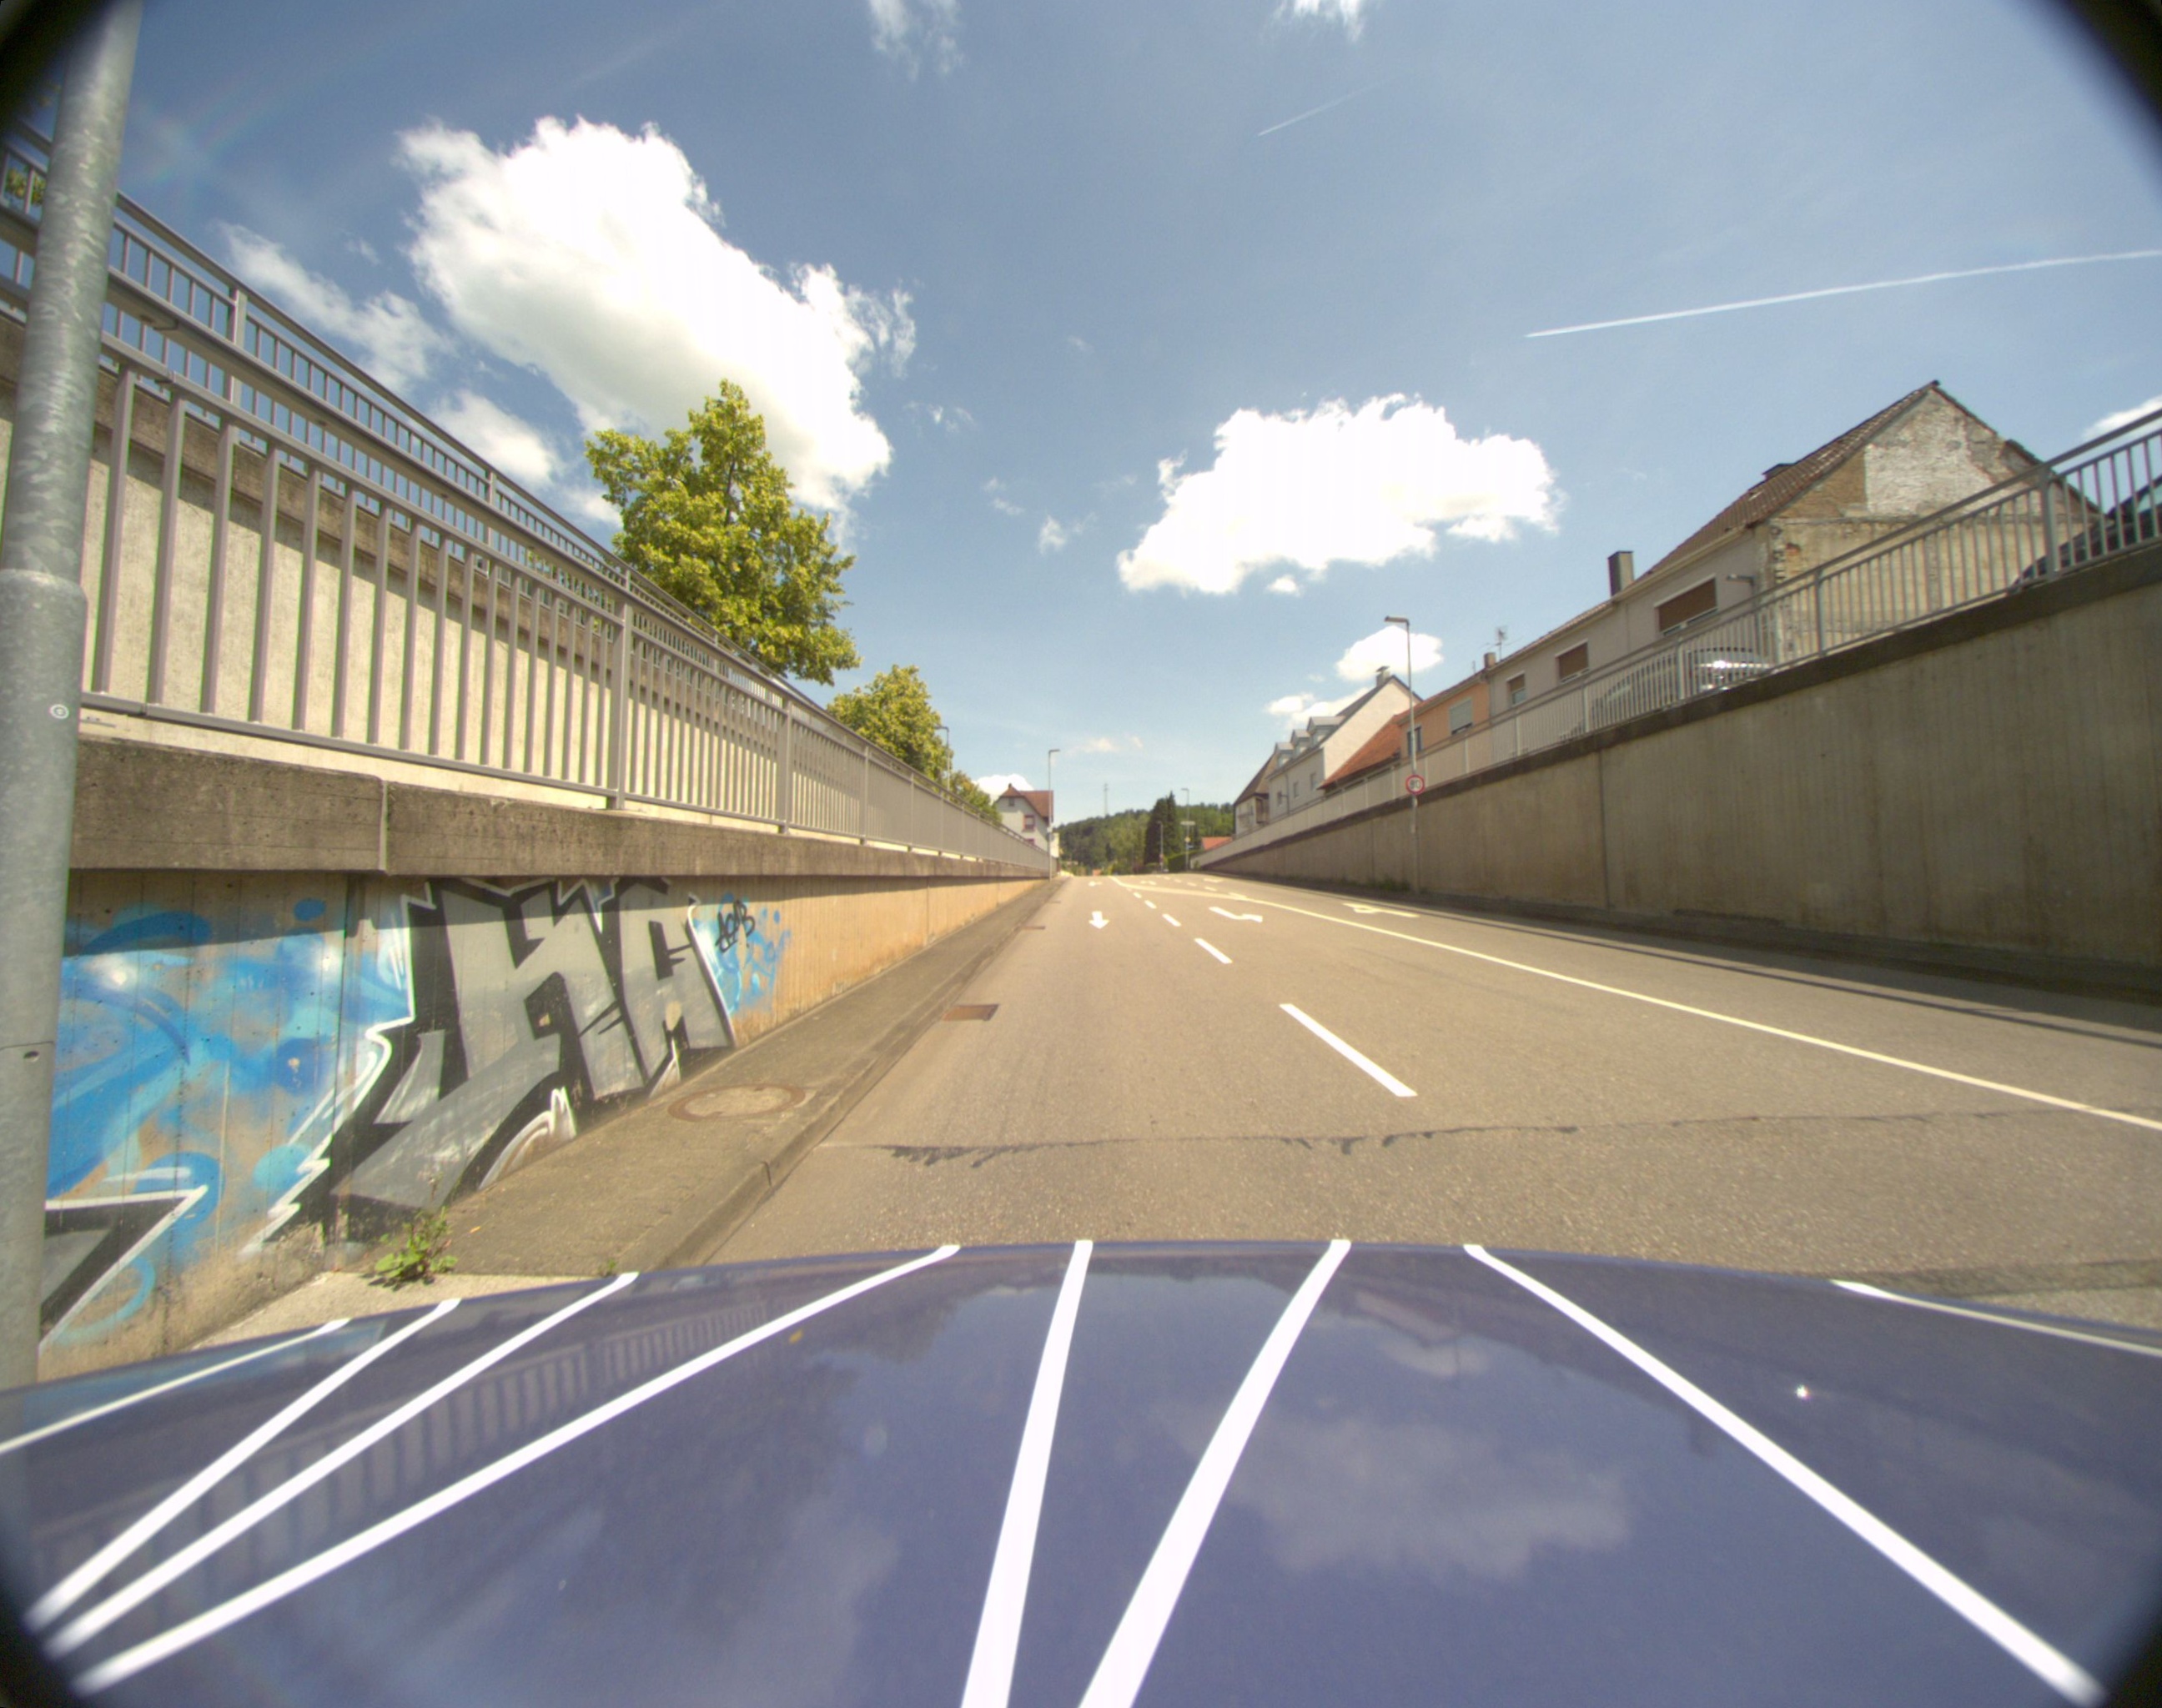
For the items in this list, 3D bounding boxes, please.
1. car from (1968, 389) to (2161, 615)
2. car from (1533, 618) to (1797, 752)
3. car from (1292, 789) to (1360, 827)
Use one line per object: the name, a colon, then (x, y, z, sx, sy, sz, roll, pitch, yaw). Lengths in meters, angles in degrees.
car: (11.738, -3.840, 7.102, 1.827, 1.695, 4.223, -2, -2, -1)
car: (11.351, -3.202, 15.270, 1.803, 1.515, 4.394, -2, -2, -1)
car: (12.019, -2.219, 37.541, 1.790, 1.396, 4.394, -2, -2, -1)
